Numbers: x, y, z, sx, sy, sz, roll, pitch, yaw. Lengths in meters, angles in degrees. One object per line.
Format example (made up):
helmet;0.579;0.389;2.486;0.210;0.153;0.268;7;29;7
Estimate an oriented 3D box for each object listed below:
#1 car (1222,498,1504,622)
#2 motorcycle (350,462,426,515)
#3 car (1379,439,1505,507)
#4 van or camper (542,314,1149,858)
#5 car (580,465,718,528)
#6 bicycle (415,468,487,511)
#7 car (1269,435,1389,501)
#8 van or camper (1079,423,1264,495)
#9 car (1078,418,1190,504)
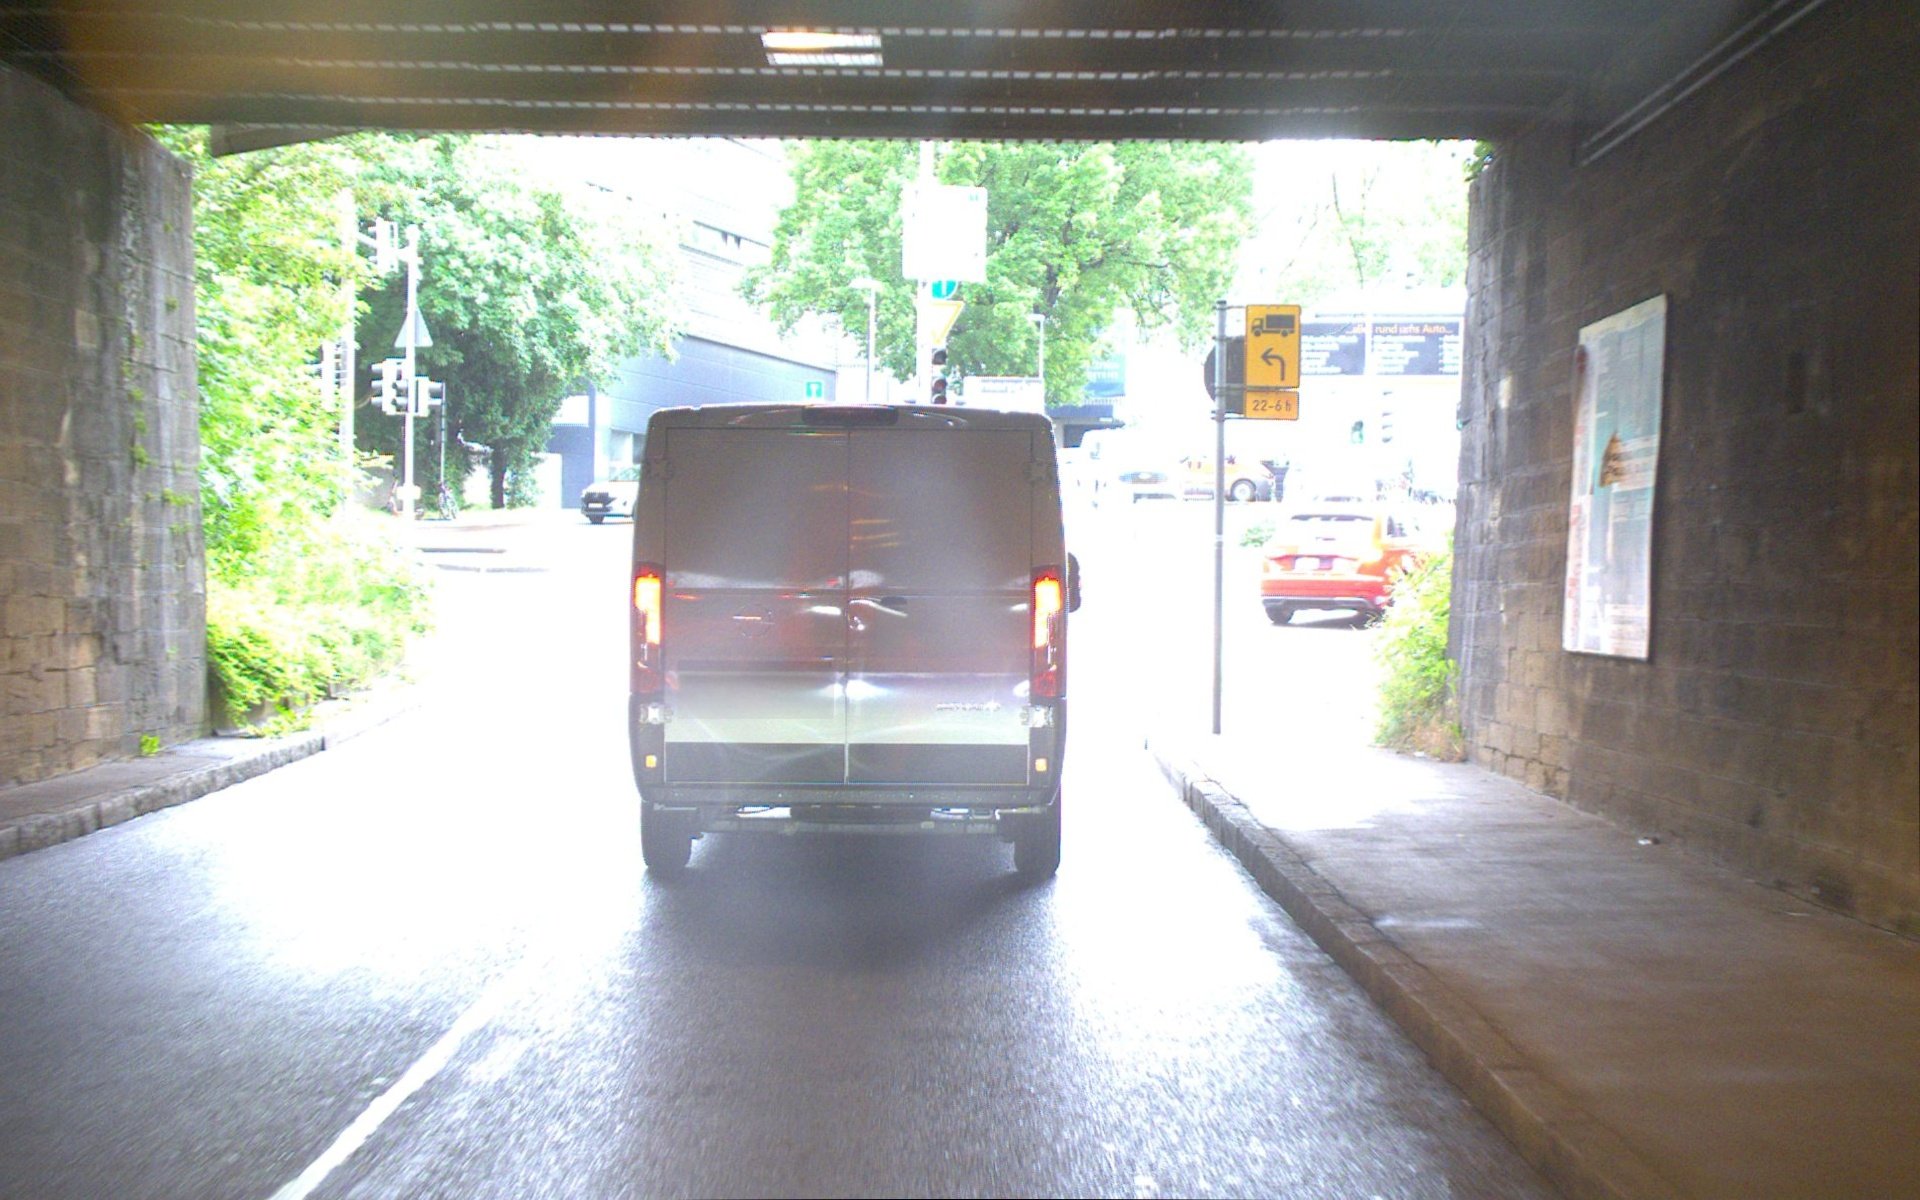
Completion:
car;4.941;-0.482;41.726;1.839;1.433;4.095;0;1;32
motorcycle;-15.526;-3.027;93.369;1.987;1.417;0.659;1;1;-4
car;11.420;-3.002;81.656;1.993;1.534;4.001;1;1;-7
van or camper;-0.499;-0.057;17.833;2.698;2.408;4.903;0;0;0
car;-8.570;-2.853;94.926;1.996;1.682;3.994;1;1;26
bicycle;-13.786;-2.983;93.214;0.928;1.124;2.288;1;1;20
car;8.797;-3.146;82.232;1.993;1.481;4.001;1;1;-7
van or camper;6.212;-4.117;100.715;5.309;2.007;2.078;1;1;6
car;4.098;-3.266;81.578;1.993;1.941;4.001;1;1;-7
